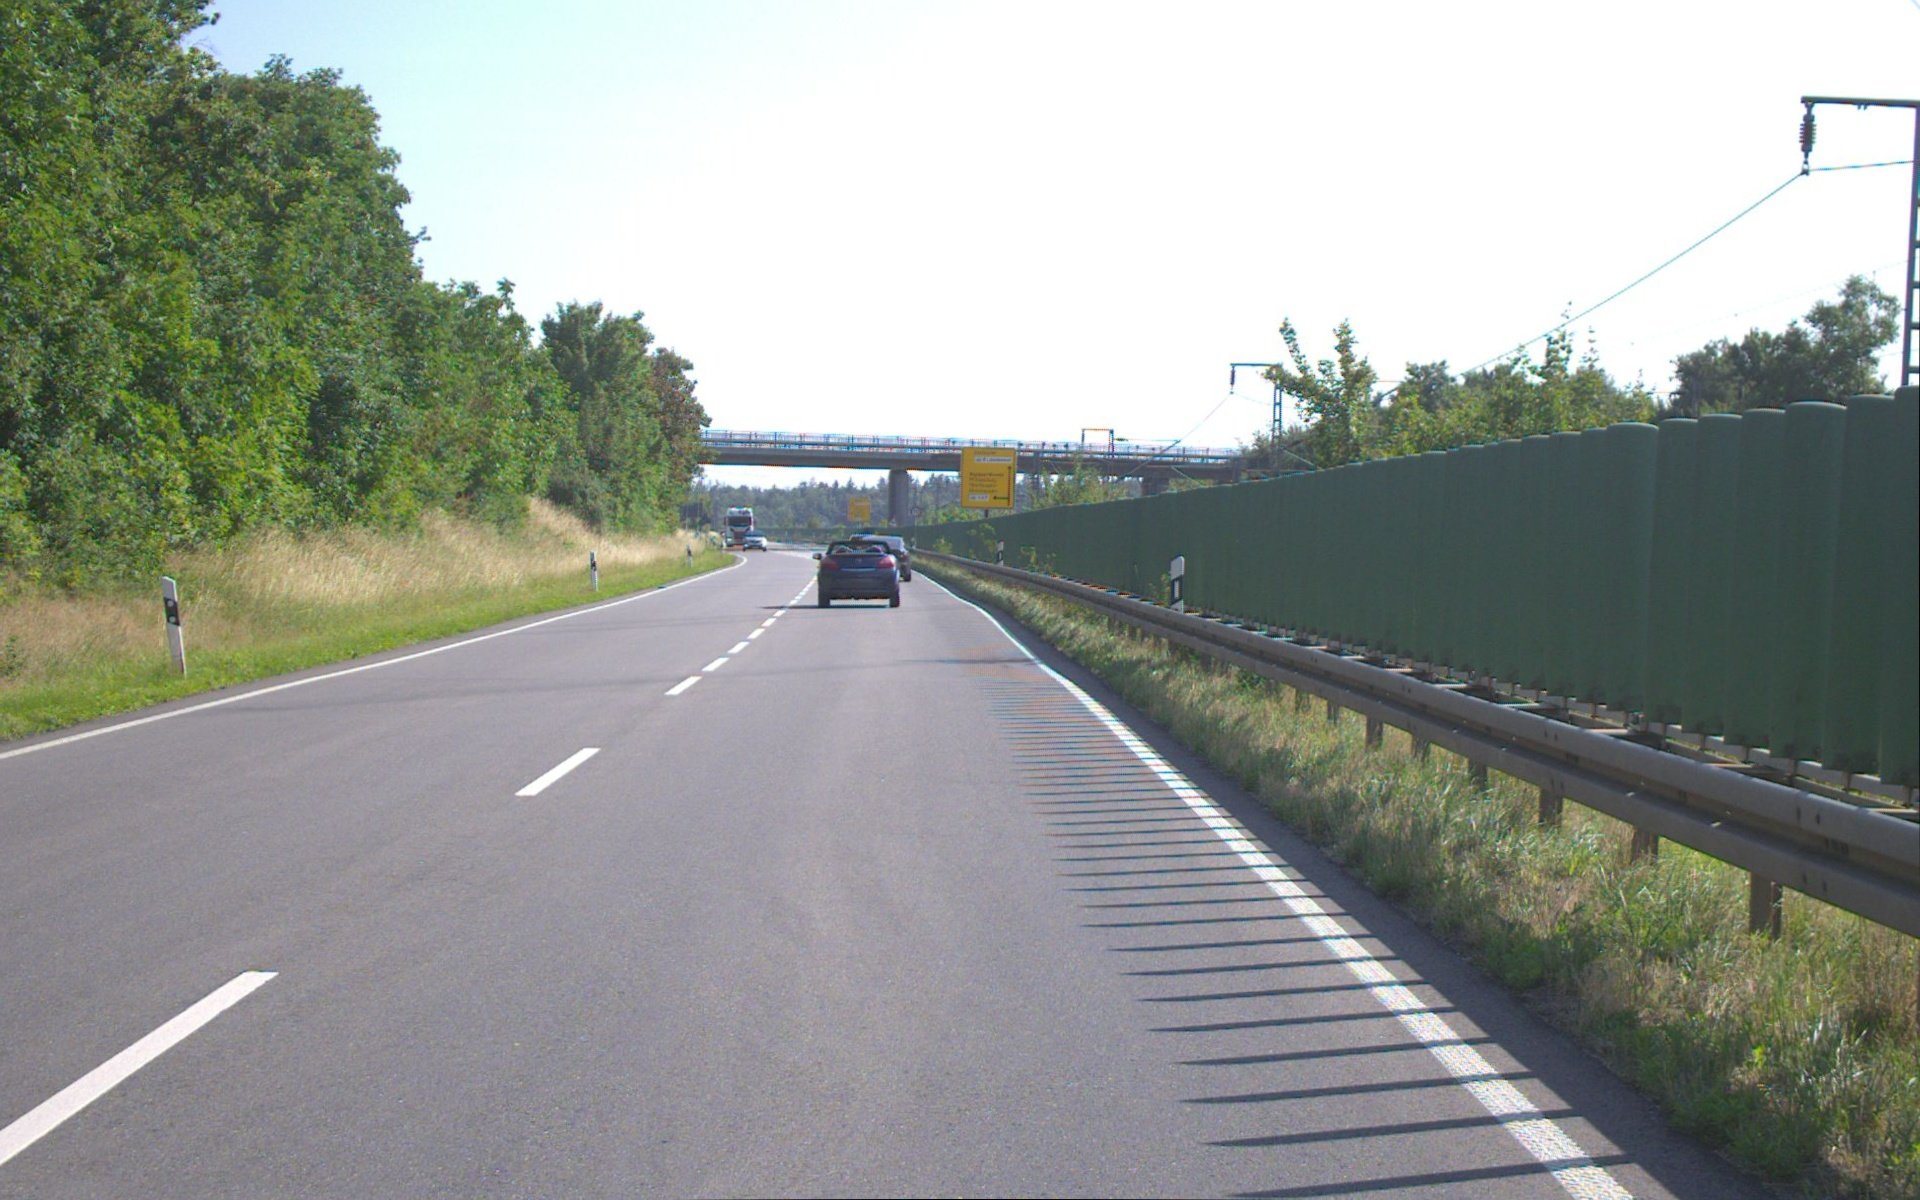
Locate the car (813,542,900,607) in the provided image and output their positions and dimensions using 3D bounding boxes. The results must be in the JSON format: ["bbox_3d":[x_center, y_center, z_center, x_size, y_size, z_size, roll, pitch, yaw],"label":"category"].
[{"bbox_3d":[-2.124,-0.521,69.584,1.663,1.257,4.001,1,1,-3],"label":"car"}]
